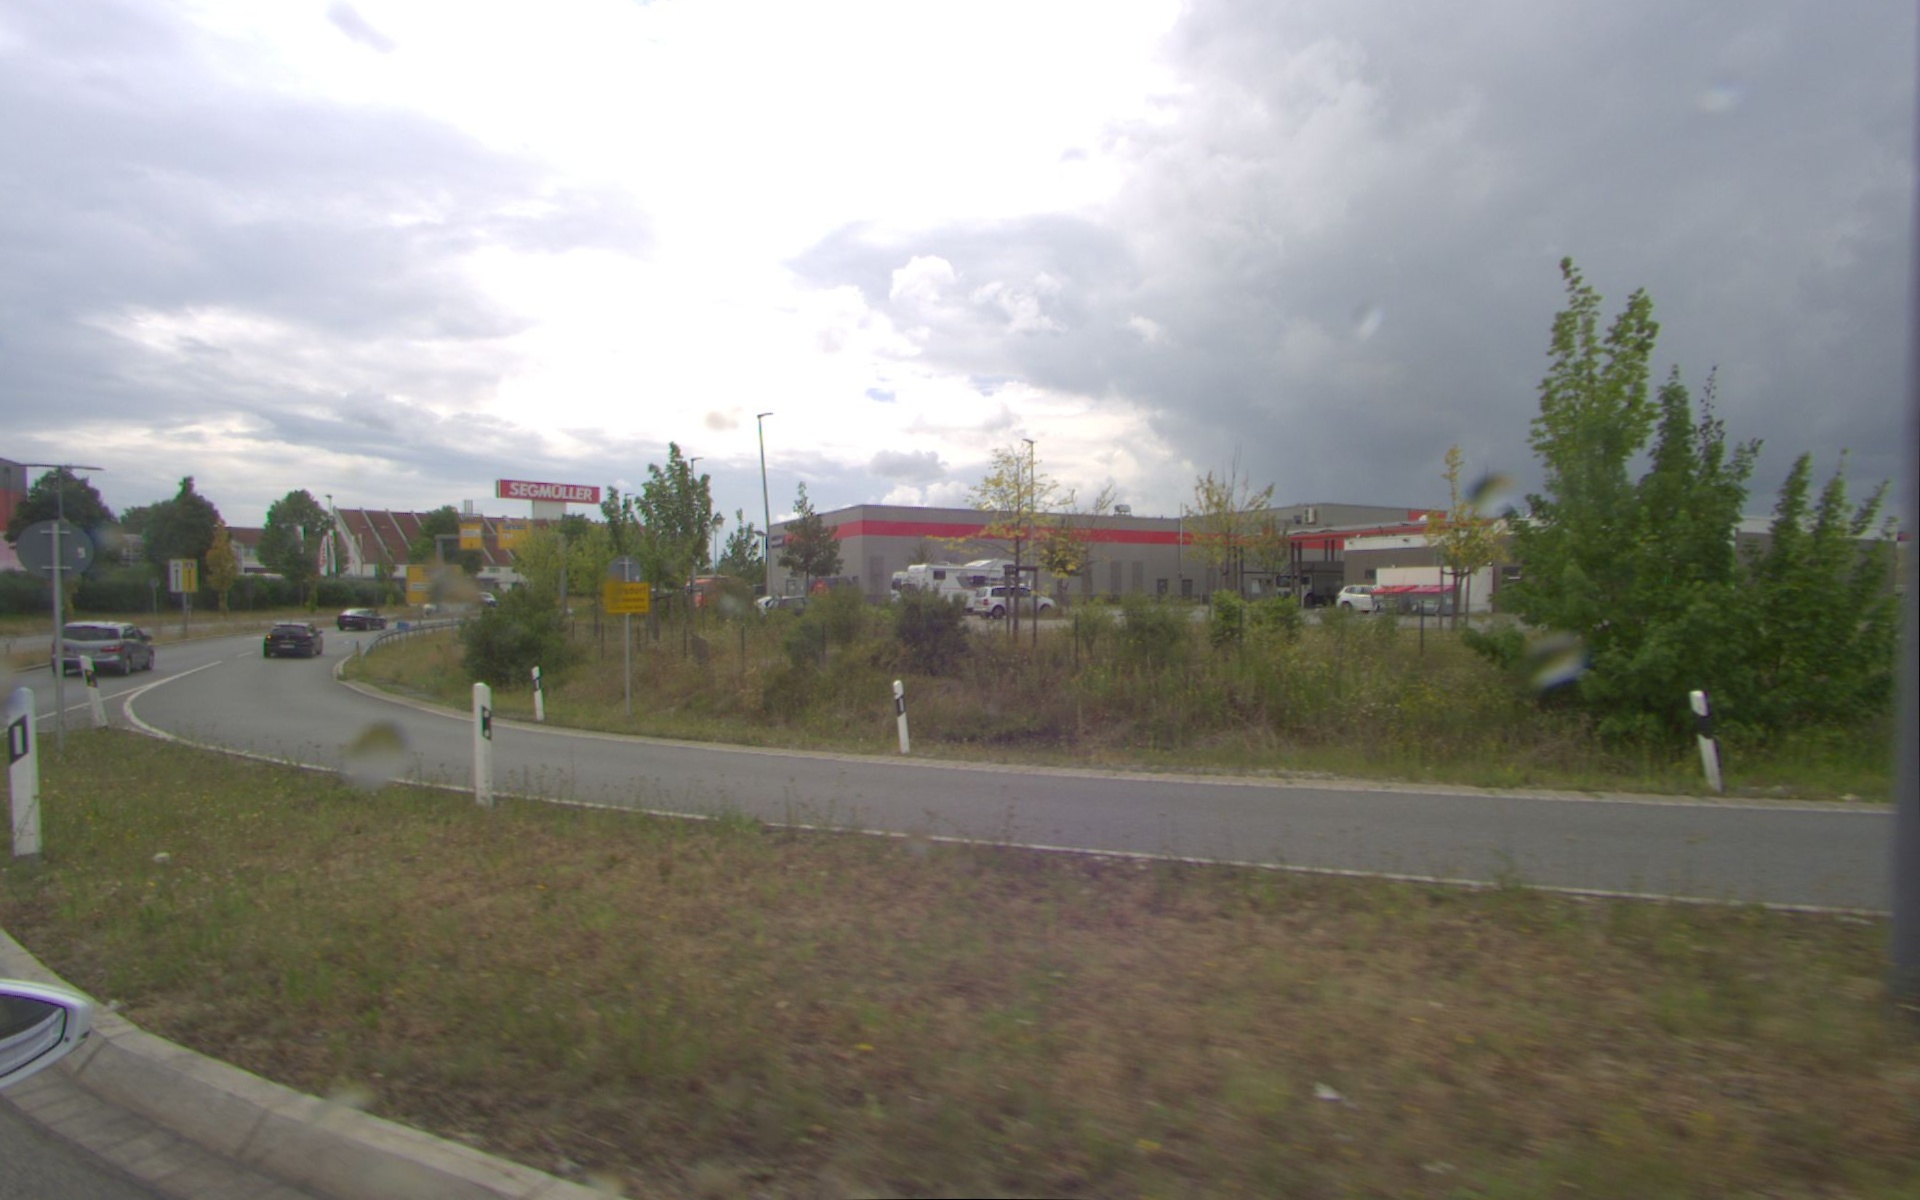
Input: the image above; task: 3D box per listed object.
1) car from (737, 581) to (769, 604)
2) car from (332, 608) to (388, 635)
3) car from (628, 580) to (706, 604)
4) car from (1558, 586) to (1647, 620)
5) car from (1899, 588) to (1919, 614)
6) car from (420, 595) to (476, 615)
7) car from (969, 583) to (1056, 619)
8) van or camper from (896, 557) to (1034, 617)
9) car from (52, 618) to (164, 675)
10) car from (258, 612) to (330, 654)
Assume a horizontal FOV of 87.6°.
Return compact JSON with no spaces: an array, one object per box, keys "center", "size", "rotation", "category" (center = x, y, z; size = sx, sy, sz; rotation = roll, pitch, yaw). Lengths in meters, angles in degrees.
[{"center":[-17.998,-0.672,87.083],"size":[1.679,1.836,3.952],"rotation":[-3,2,-27],"category":"car"},{"center":[-38.368,1.374,64.113],"size":[1.877,1.639,3.997],"rotation":[0,-1,-12],"category":"car"},{"center":[-18.241,-0.495,62.551],"size":[1.682,1.418,4.556],"rotation":[0,0,38],"category":"car"},{"center":[28.547,0.154,44.503],"size":[3.941,1.450,1.662],"rotation":[1,0,-29],"category":"car"},{"center":[58.911,0.051,60.842],"size":[3.611,1.558,1.790],"rotation":[1,-1,-31],"category":"car"},{"center":[-45.840,0.473,89.830],"size":[1.879,1.647,4.634],"rotation":[4,0,13],"category":"car"},{"center":[2.654,0.076,50.430],"size":[3.996,1.743,1.774],"rotation":[1,-1,-23],"category":"car"},{"center":[0.339,-0.747,56.863],"size":[7.626,3.222,2.479],"rotation":[-1,2,-30],"category":"van or camper"},{"center":[-26.544,1.395,31.335],"size":[1.746,1.637,3.905],"rotation":[0,-1,-26],"category":"car"},{"center":[-28.055,1.375,42.308],"size":[1.846,1.625,3.722],"rotation":[2,-2,-24],"category":"car"}]
